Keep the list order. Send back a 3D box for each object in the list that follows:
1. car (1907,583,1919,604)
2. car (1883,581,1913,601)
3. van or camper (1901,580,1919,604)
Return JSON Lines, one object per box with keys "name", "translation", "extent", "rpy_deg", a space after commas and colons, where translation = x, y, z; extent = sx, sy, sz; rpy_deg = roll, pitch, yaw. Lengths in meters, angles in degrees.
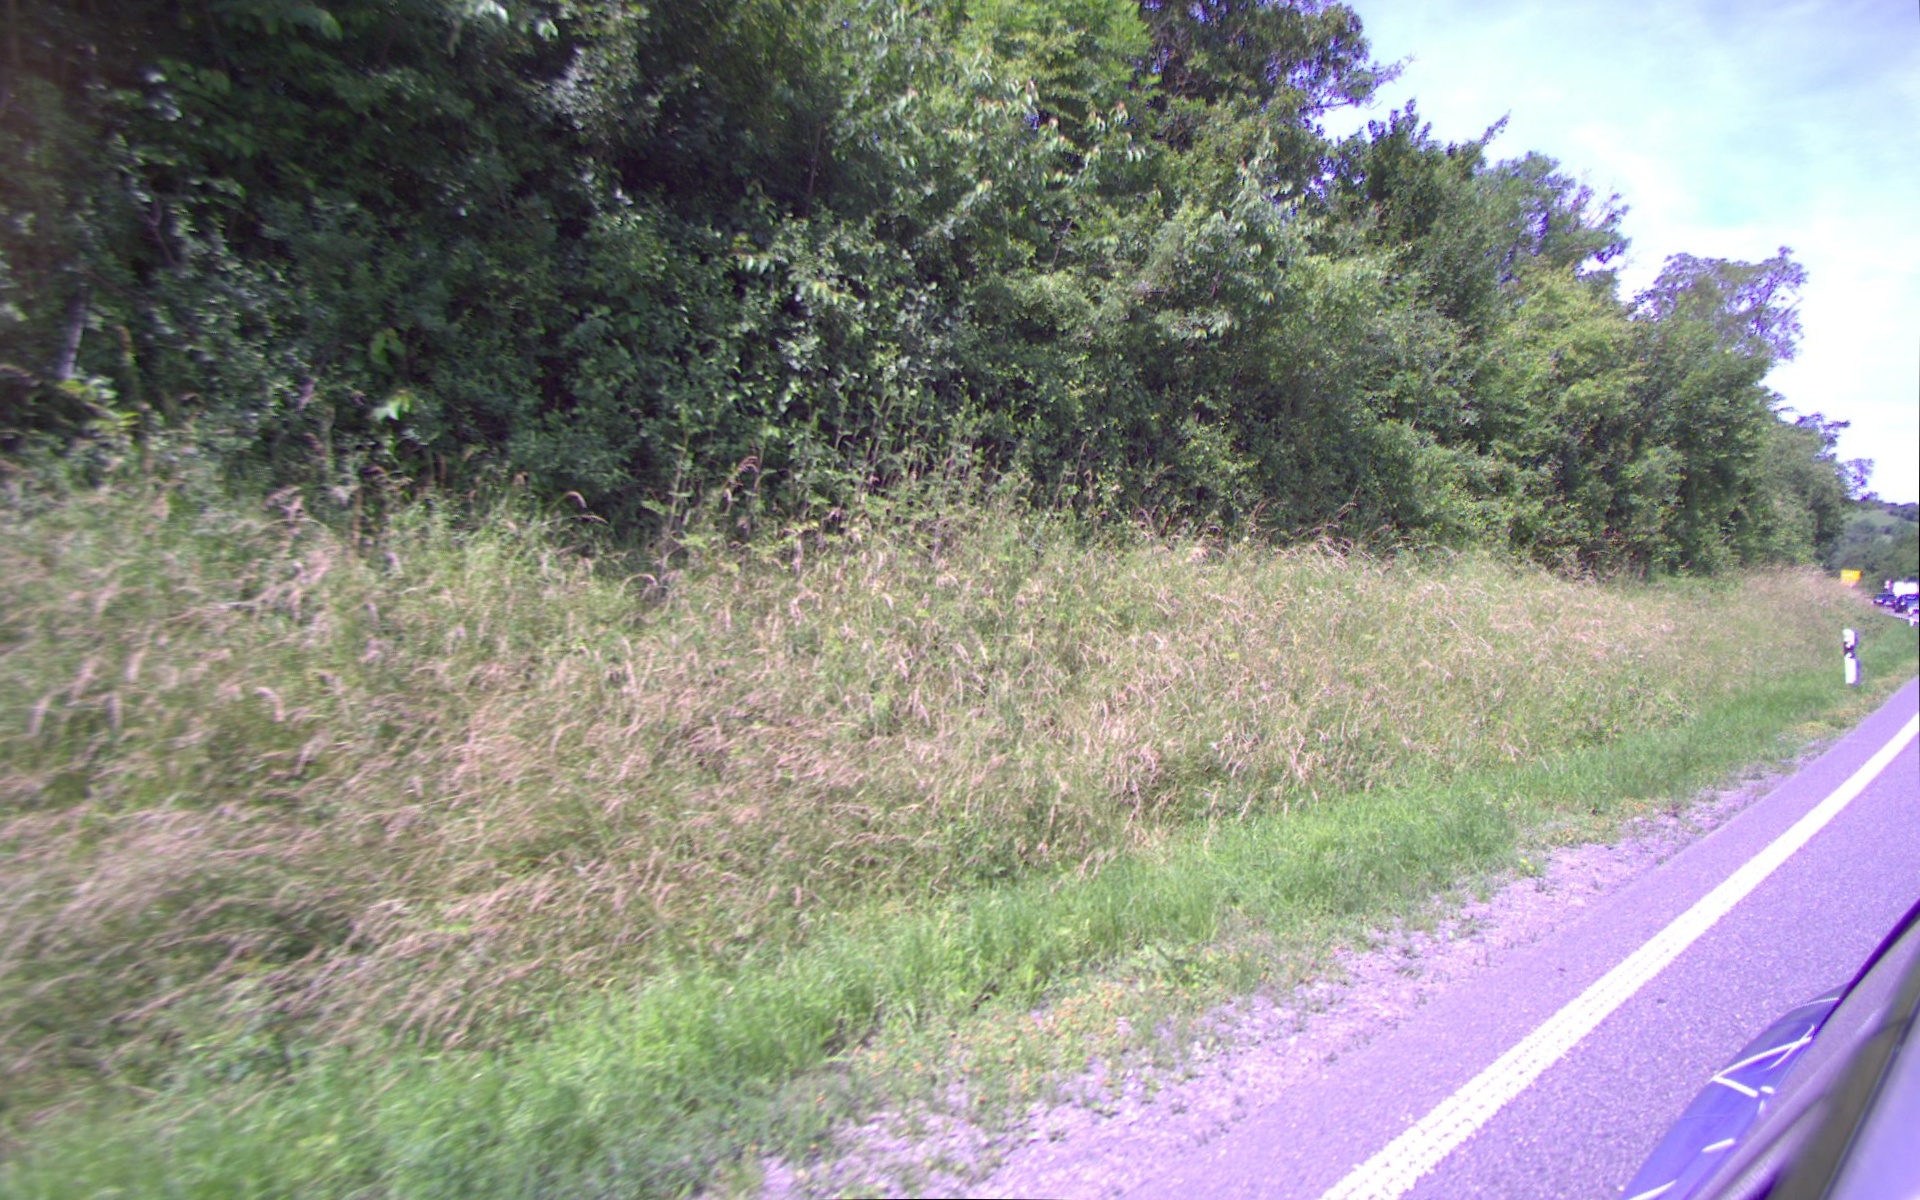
{"name": "car", "translation": [74.308, -0.456, 77.808], "extent": [1.818, 1.537, 3.944], "rpy_deg": [5, 4, 39]}
{"name": "car", "translation": [86.321, -0.831, 93.184], "extent": [1.659, 1.670, 3.944], "rpy_deg": [5, 4, 38]}
{"name": "van or camper", "translation": [107.186, -0.930, 113.269], "extent": [2.204, 2.559, 6.050], "rpy_deg": [1, 2, 38]}
